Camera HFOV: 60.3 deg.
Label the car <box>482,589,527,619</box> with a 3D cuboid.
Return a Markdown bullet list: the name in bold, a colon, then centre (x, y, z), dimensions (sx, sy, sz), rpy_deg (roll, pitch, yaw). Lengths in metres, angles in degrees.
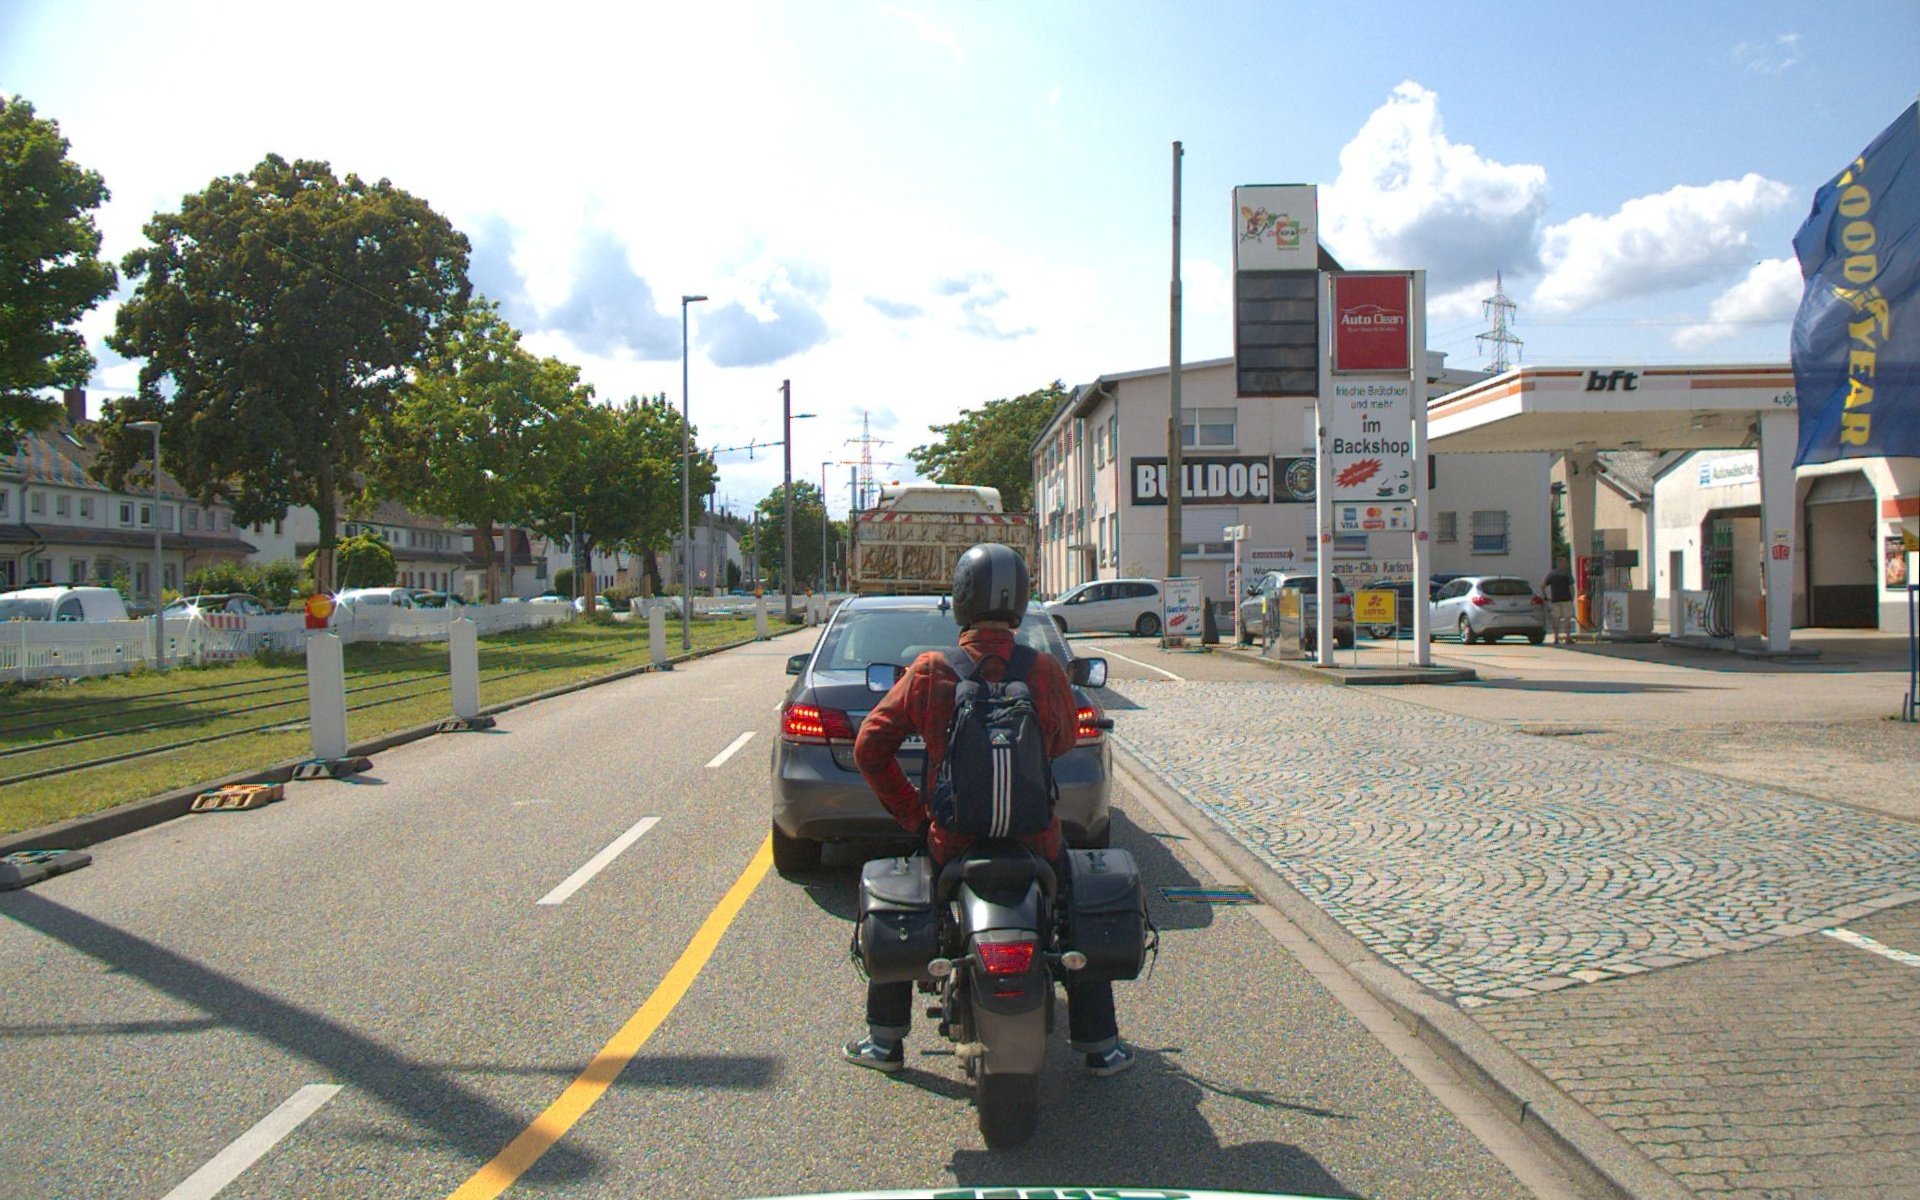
- **car**: centre (-28.665, 0.230, 104.154), dimensions (1.664, 1.770, 4.061), rpy_deg (-1, 0, -1)

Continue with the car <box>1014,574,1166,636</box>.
- **car**: centre (3.669, 0.119, 47.090), dimensions (4.029, 1.652, 1.682), rpy_deg (-1, 0, -9)

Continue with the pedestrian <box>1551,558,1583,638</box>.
- **pedestrian**: centre (13.133, -0.045, 35.797), dimensions (0.621, 1.712, 0.622), rpy_deg (-1, 0, 20)

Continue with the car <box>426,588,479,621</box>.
- **car**: centre (-28.182, 0.245, 91.941), dimensions (1.664, 1.770, 4.061), rpy_deg (-1, 0, -1)

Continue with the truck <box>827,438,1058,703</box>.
- **truck**: centre (-0.357, -0.420, 25.475), dimensions (2.910, 3.362, 8.404), rpy_deg (-1, 0, -2)

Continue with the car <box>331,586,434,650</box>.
- **car**: centre (-16.914, 0.494, 48.622), dimensions (1.664, 1.770, 3.860), rpy_deg (-1, 0, -1)

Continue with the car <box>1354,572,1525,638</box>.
- **car**: centre (12.590, 0.122, 43.581), dimensions (4.019, 1.652, 1.686), rpy_deg (-1, 0, 2)

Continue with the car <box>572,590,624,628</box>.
- **car**: centre (-17.362, 0.405, 79.418), dimensions (1.664, 1.770, 3.860), rpy_deg (-1, 0, -1)

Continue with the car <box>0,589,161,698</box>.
- **car**: centre (-16.419, 0.745, 30.300), dimensions (1.664, 1.849, 3.860), rpy_deg (-1, 0, -1)

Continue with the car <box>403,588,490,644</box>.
- **car**: centre (-17.020, 0.498, 54.987), dimensions (1.664, 1.770, 3.860), rpy_deg (-1, 0, -1)

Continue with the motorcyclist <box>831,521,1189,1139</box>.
- **motorcyclist**: centre (0.127, 0.620, 5.082), dimensions (0.950, 1.662, 1.214), rpy_deg (1, 0, -1)

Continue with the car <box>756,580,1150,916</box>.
- **car**: centre (-0.092, 0.663, 9.657), dimensions (1.795, 1.505, 4.008), rpy_deg (-1, 0, -2)

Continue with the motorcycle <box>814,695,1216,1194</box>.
- **motorcycle**: centre (0.116, 0.902, 5.200), dimensions (0.956, 1.031, 2.431), rpy_deg (1, 0, -1)

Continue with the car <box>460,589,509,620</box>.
- **car**: centre (-28.059, 0.263, 97.698), dimensions (1.664, 1.770, 4.061), rpy_deg (-1, 0, -1)

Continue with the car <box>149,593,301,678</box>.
- **car**: centre (-16.674, 0.759, 37.724), dimensions (1.664, 1.770, 4.053), rpy_deg (-1, 0, -1)

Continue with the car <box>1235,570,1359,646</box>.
- **car**: centre (7.429, 0.143, 36.792), dimensions (1.795, 1.562, 4.008), rpy_deg (-1, 0, -2)

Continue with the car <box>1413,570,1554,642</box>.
- **car**: centre (11.771, 0.104, 37.426), dimensions (1.795, 1.505, 4.008), rpy_deg (-1, 0, -2)
